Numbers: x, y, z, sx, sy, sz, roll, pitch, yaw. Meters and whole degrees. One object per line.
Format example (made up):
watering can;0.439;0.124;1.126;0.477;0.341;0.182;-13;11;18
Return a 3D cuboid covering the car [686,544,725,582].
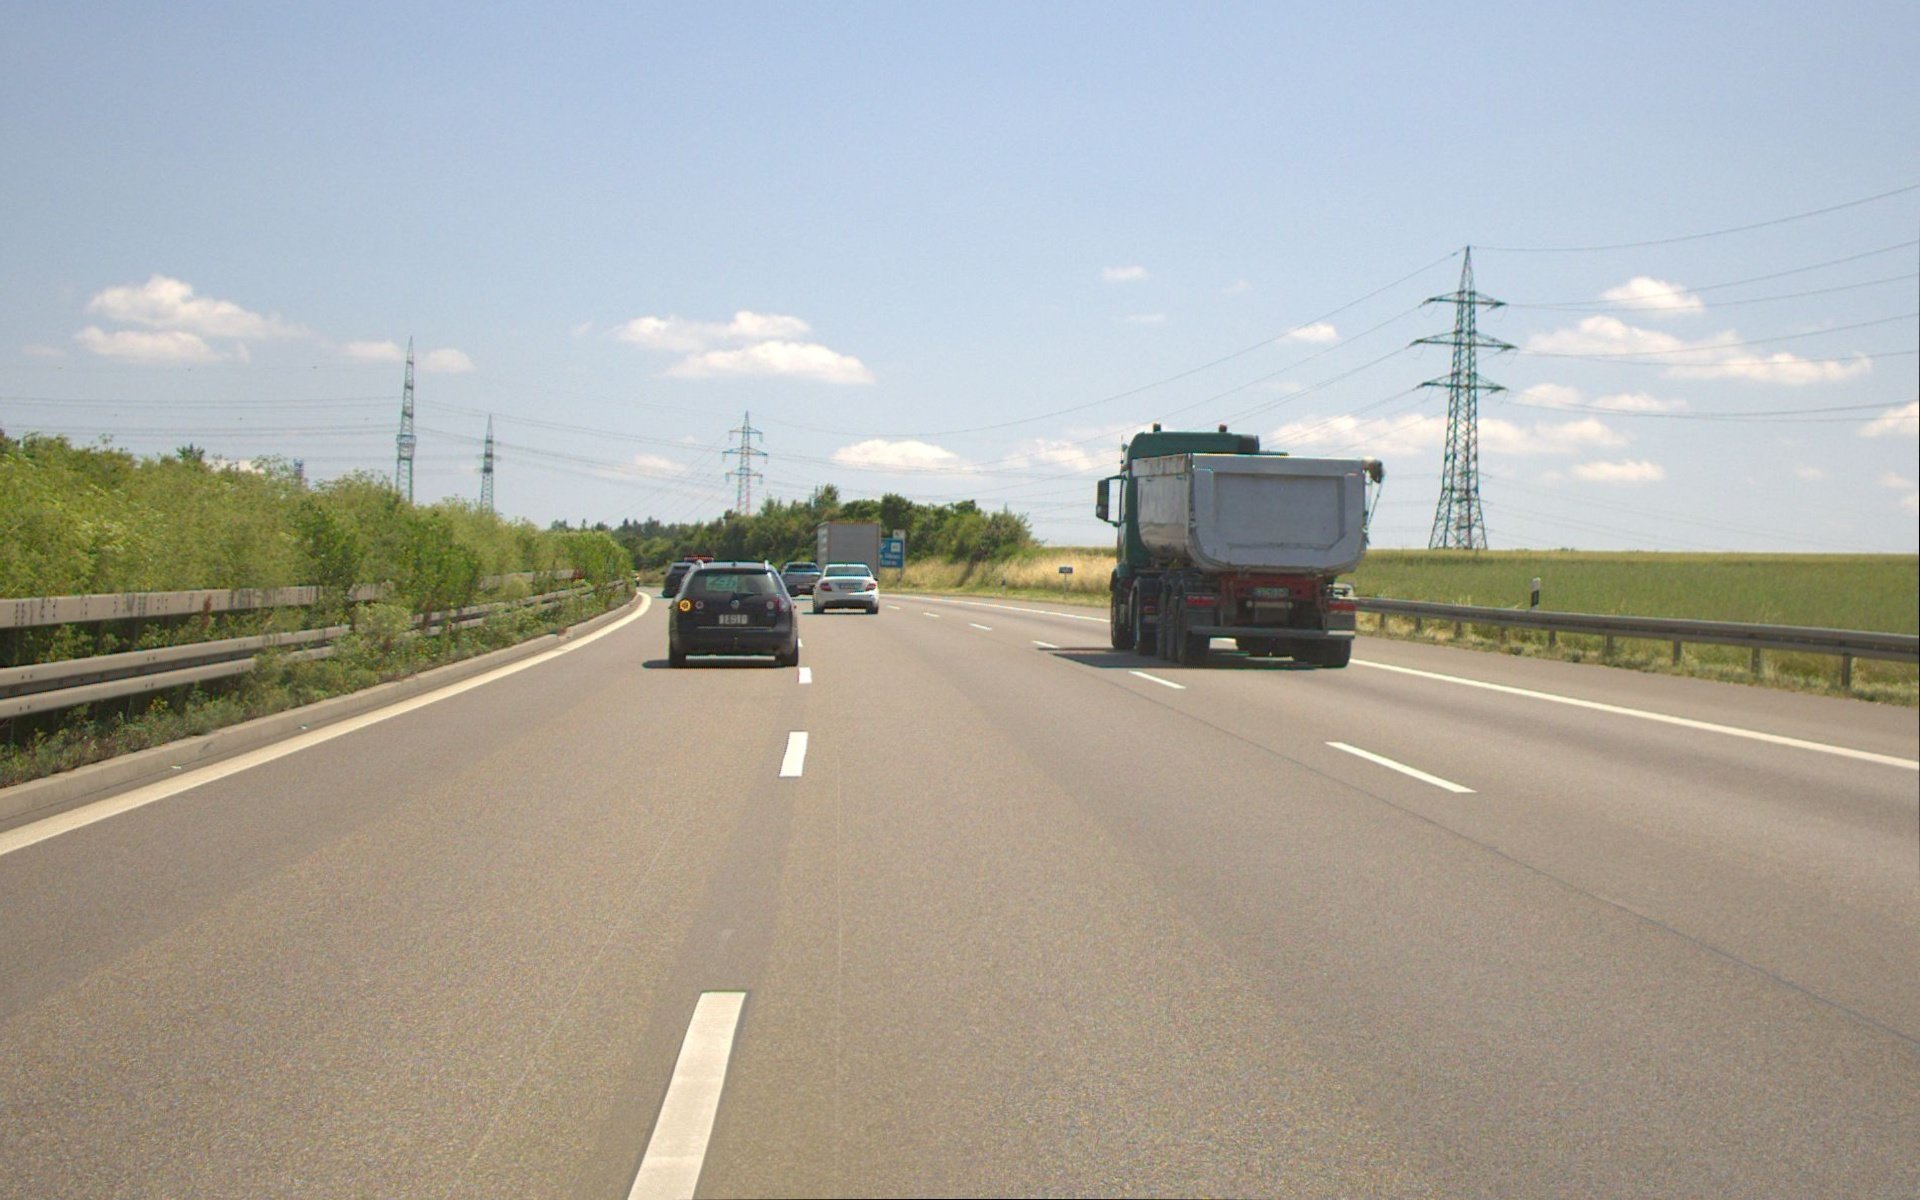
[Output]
car;-13.017;-1.874;175.970;1.901;1.919;4.001;0;1;-5

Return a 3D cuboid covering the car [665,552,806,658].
car;-3.122;0.050;48.459;1.756;1.424;4.000;0;1;-1

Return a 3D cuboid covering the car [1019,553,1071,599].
car;3.451;-0.999;140.101;1.993;1.846;4.000;0;1;-1

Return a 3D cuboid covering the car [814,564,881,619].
car;-3.190;-0.262;98.102;1.819;1.535;3.915;0;1;-1

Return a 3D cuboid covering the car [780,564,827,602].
car;-6.313;-0.695;138.510;1.838;1.535;3.915;0;1;-3

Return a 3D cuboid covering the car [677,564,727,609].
car;-10.714;-0.570;142.748;1.993;1.853;4.001;0;1;-5

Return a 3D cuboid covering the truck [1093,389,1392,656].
truck;4.190;-1.149;54.314;2.865;3.711;12.765;0;1;-4

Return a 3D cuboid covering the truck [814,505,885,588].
truck;-5.479;-2.580;168.921;3.221;3.911;9.061;1;0;-3
